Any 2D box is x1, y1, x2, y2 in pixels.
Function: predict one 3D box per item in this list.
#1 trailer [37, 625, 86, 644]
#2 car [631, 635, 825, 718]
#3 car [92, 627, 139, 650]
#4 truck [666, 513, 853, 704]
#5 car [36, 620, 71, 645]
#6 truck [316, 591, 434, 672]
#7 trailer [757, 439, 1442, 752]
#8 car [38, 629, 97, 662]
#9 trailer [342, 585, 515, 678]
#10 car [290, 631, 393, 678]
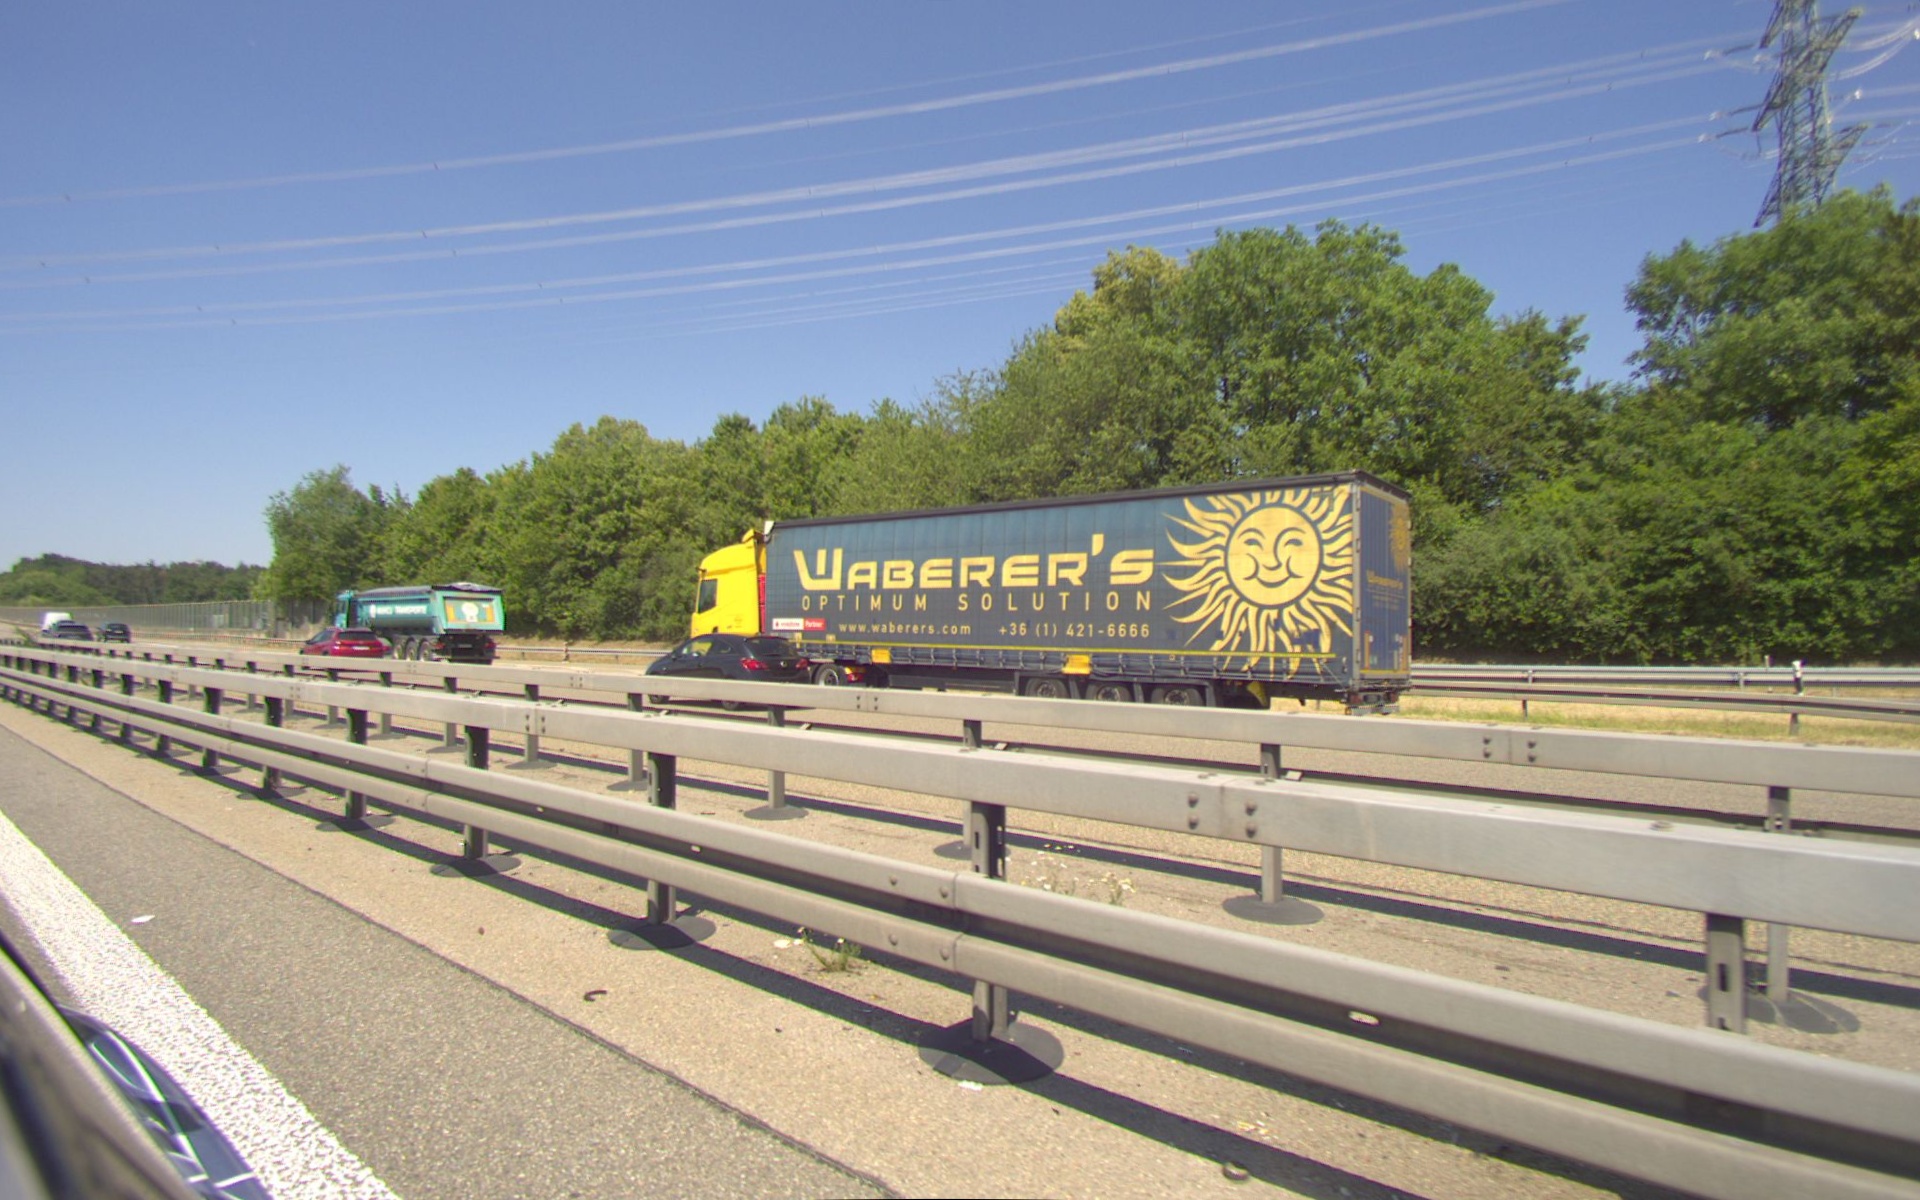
[{"bbox_3d":[-94.159,3.596,106.059,6.716,1.961,2.737,-1,-4,39],"label":"trailer"},{"bbox_3d":[-4.701,1.456,20.167,4.146,1.480,1.694,-2,-4,43],"label":"car"},{"bbox_3d":[-70.913,3.213,84.977,4.508,1.813,2.136,-1,-4,39],"label":"car"},{"bbox_3d":[-5.058,0.267,25.556,3.511,4.374,3.142,-2,-2,40],"label":"truck"},{"bbox_3d":[-98.864,3.508,110.342,6.001,2.660,2.087,-1,-4,41],"label":"car"},{"bbox_3d":[-25.695,1.364,44.364,5.328,3.326,2.884,-2,-2,41],"label":"truck"},{"bbox_3d":[1.599,0.104,19.832,13.803,4.374,3.142,-2,-2,41],"label":"trailer"},{"bbox_3d":[-46.134,2.315,52.278,3.998,1.637,1.763,-1,-2,41],"label":"car"},{"bbox_3d":[-21.602,1.269,40.794,9.705,3.326,2.883,-2,-2,41],"label":"trailer"},{"bbox_3d":[-21.866,1.891,35.726,4.381,1.542,1.763,-1,-5,41],"label":"car"}]
